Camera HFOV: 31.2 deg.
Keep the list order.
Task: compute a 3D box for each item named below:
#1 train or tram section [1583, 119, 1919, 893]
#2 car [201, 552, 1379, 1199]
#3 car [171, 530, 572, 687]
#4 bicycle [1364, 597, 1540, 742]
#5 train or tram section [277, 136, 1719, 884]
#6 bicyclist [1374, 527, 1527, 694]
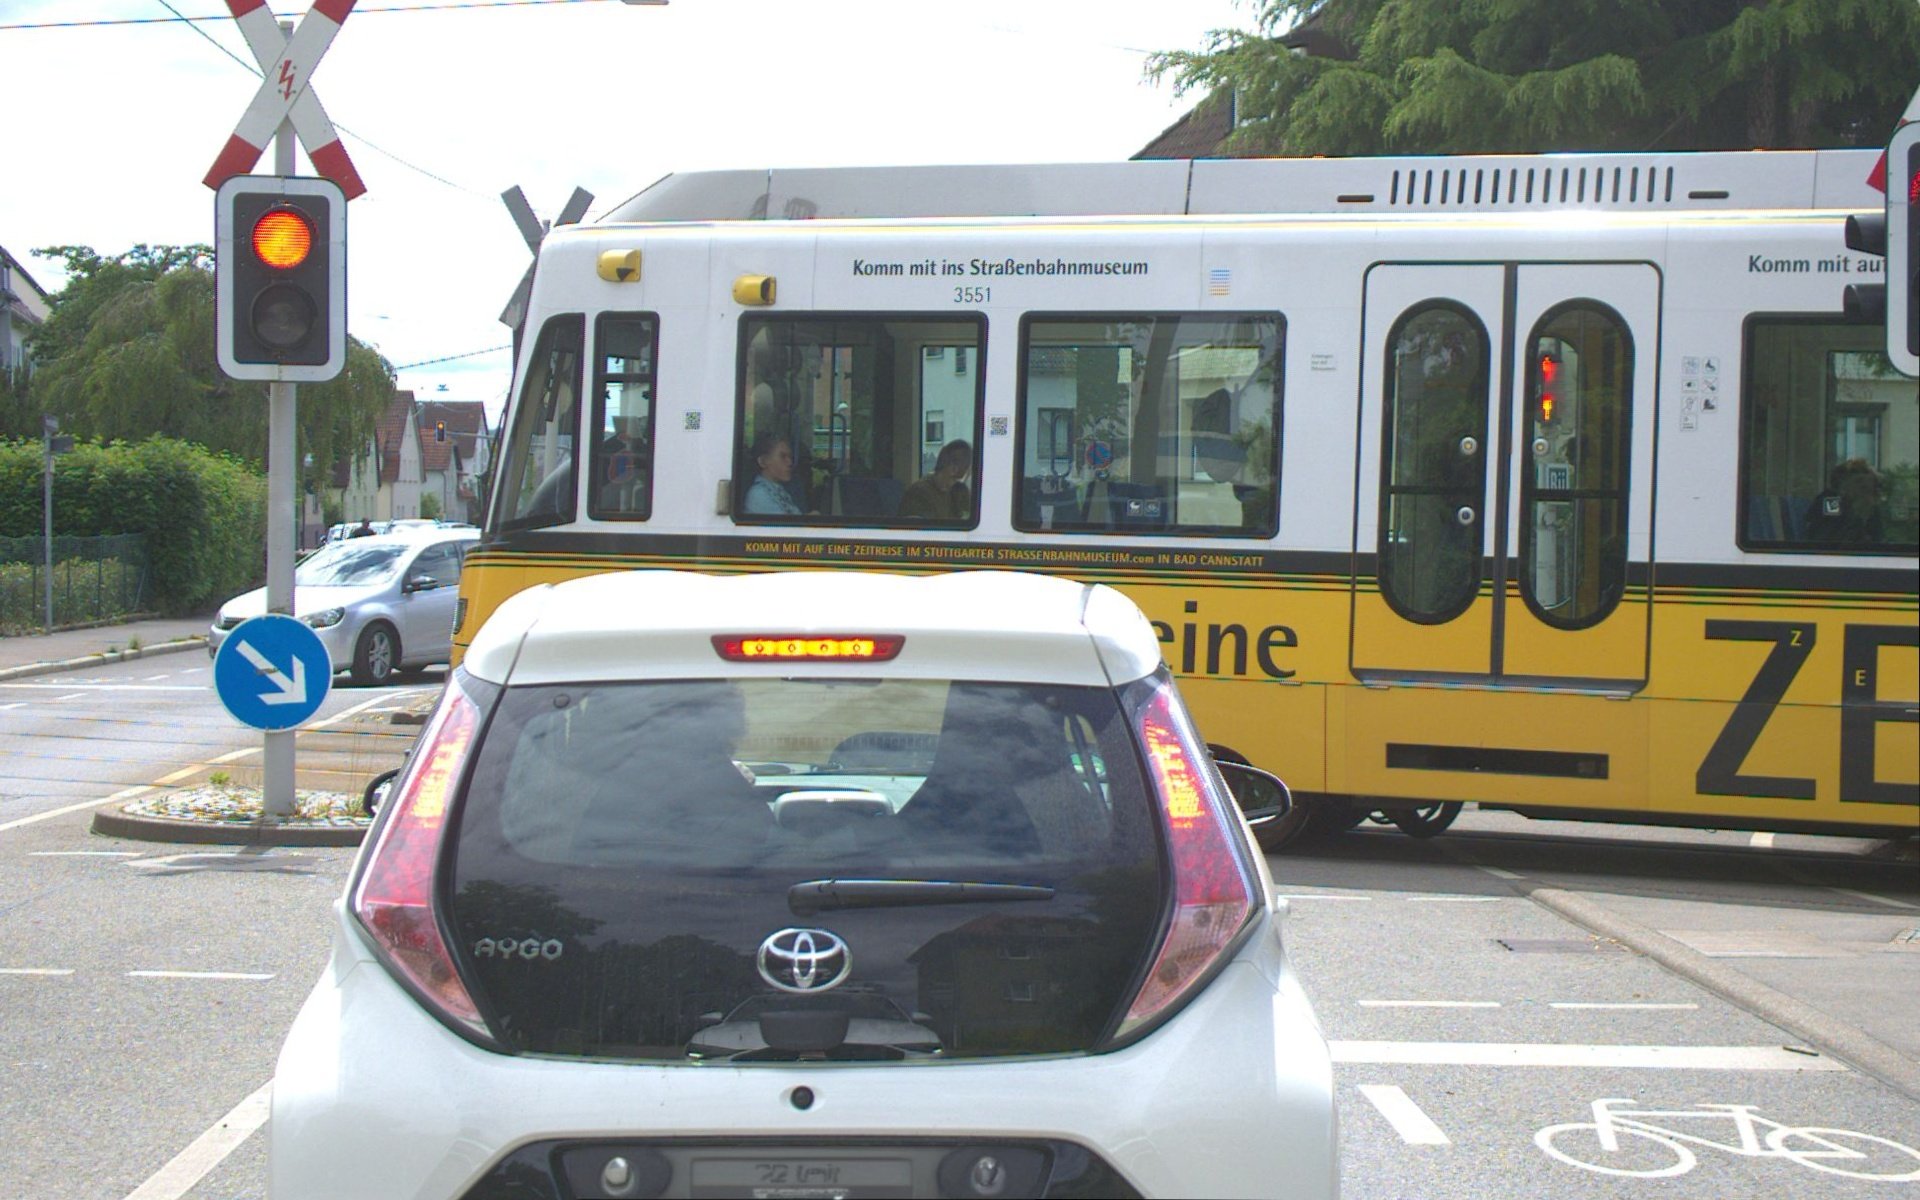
[{"bbox_3d":[7.255,-0.370,16.915,7.700,3.709,2.866,2,1,23],"label":"train or tram section"},{"bbox_3d":[-0.259,0.661,6.749,1.621,1.481,4.000,0,1,-1],"label":"car"},{"bbox_3d":[-5.817,0.043,34.413,1.691,1.453,4.062,2,2,32],"label":"car"},{"bbox_3d":[3.788,0.513,26.350,0.933,1.037,1.913,0,1,21],"label":"bicycle"},{"bbox_3d":[0.182,-0.596,19.837,7.700,3.709,2.866,2,1,23],"label":"train or tram section"},{"bbox_3d":[3.753,0.068,26.252,0.933,1.243,1.101,0,1,21],"label":"bicyclist"}]
